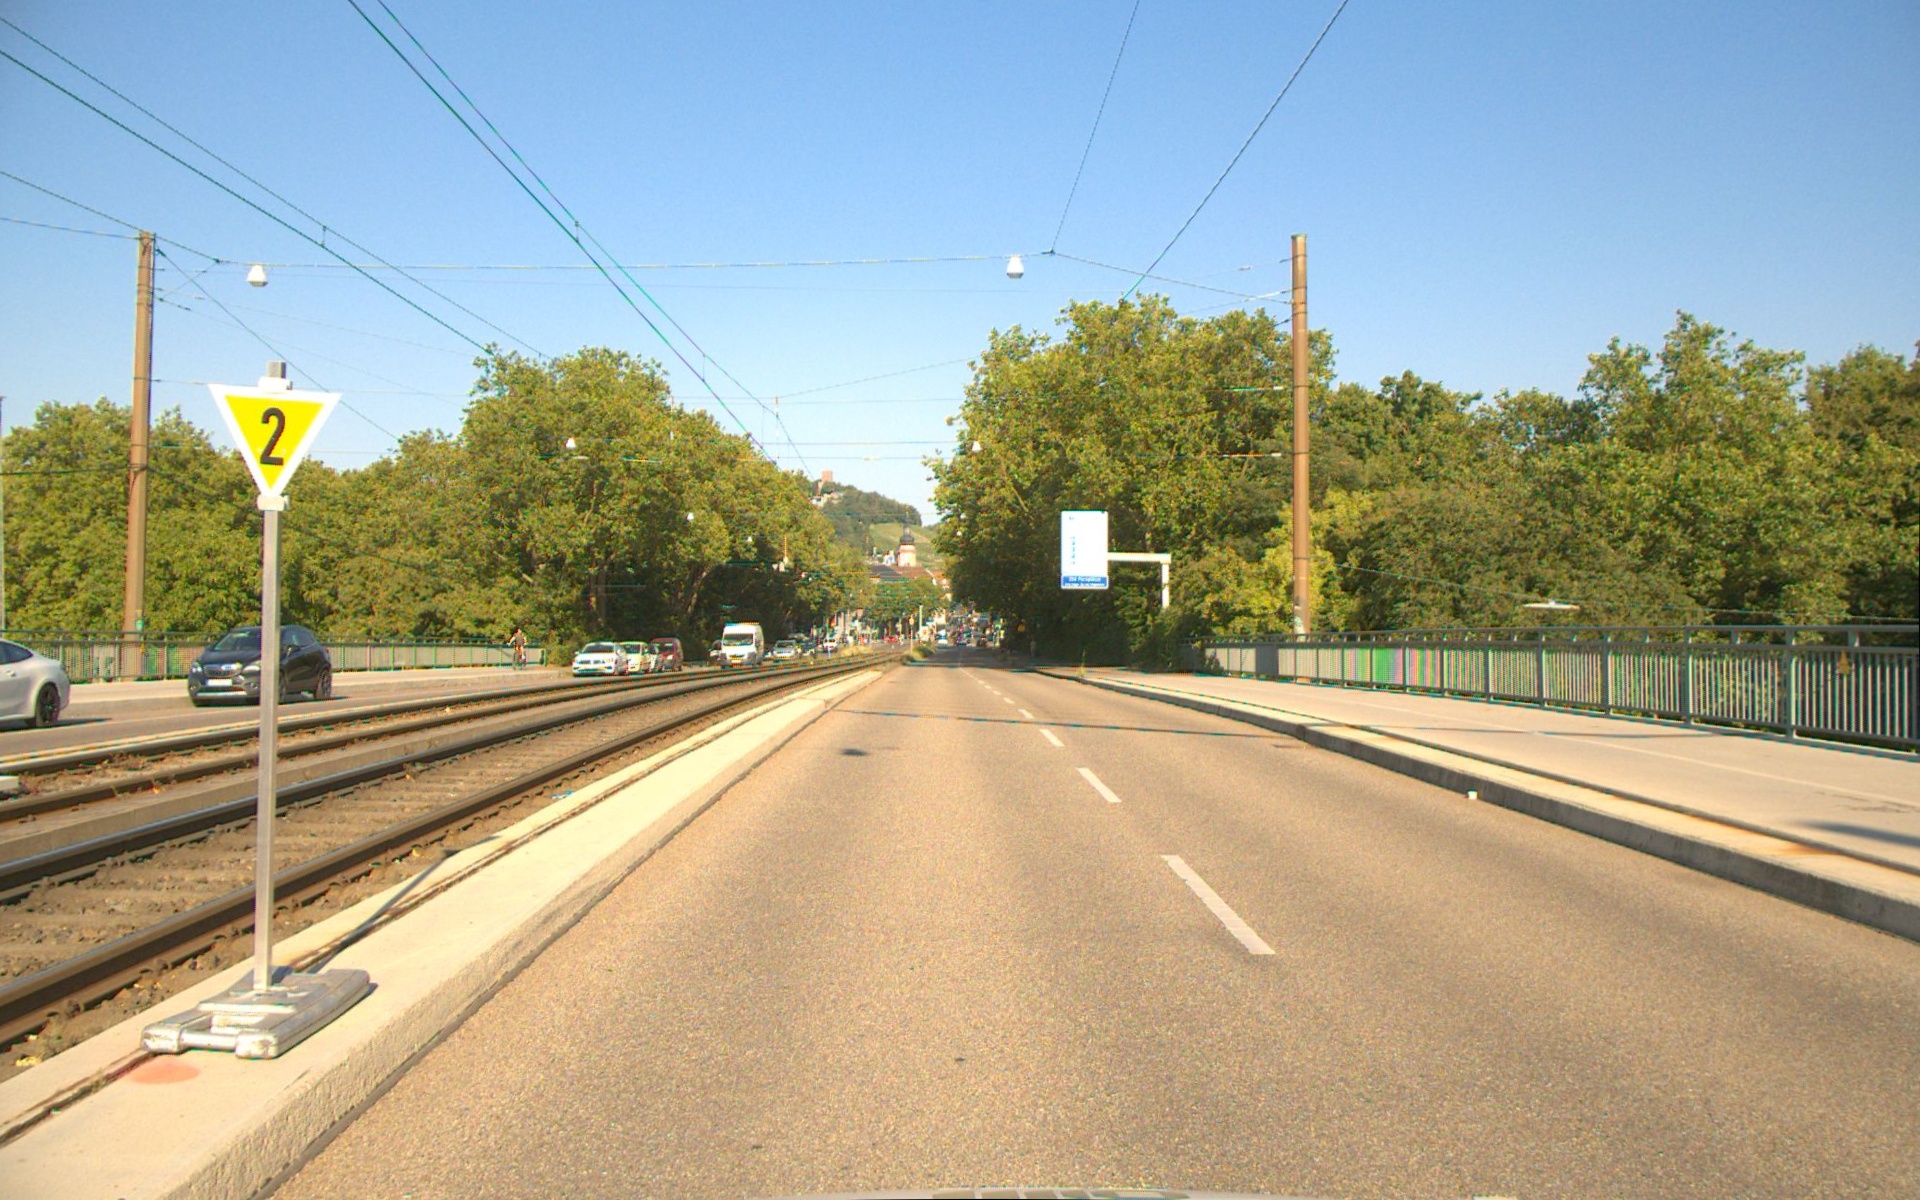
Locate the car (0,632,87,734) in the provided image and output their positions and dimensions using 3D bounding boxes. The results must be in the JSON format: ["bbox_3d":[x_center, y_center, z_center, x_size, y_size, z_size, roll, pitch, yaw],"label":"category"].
[{"bbox_3d":[-14.518,1.211,23.545,1.650,1.380,4.919,0,0,-1],"label":"car"}]

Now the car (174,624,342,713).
[{"bbox_3d":[-14.808,1.400,35.168,1.743,1.679,4.446,0,0,-1],"label":"car"}]

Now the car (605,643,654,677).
[{"bbox_3d":[-15.485,2.791,77.694,1.600,1.558,3.789,0,-1,-1],"label":"car"}]

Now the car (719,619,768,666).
[{"bbox_3d":[-12.481,2.441,95.904,2.044,2.639,6.039,1,-1,0],"label":"car"}]

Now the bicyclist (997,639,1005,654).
[{"bbox_3d":[4.788,5.416,193.255,0.869,1.806,1.221,0,-2,-4],"label":"bicyclist"}]

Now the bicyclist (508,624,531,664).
[{"bbox_3d":[-18.378,1.836,68.984,0.666,1.655,0.889,2,-1,-1],"label":"bicyclist"}]

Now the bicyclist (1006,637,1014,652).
[{"bbox_3d":[5.550,4.943,184.686,0.869,1.667,1.164,0,-2,-1],"label":"bicyclist"}]

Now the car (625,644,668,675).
[{"bbox_3d":[-15.702,2.976,83.064,1.601,1.476,3.999,0,-1,-3],"label":"car"}]

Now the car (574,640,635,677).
[{"bbox_3d":[-15.356,2.500,71.677,1.706,1.490,4.953,0,-1,-2],"label":"car"}]

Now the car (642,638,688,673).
[{"bbox_3d":[-15.731,2.943,88.447,1.706,1.785,4.682,0,-1,-1],"label":"car"}]

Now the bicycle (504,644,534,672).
[{"bbox_3d":[-18.395,2.429,69.023,0.666,1.117,2.099,2,-1,0],"label":"bicycle"}]

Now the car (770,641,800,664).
[{"bbox_3d":[-13.590,4.076,128.833,1.835,1.694,4.596,-2,-1,-1],"label":"car"}]

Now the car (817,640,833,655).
[{"bbox_3d":[-17.587,6.123,215.282,1.954,1.877,5.297,-1,-1,-3],"label":"car"}]

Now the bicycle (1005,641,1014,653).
[{"bbox_3d":[5.551,5.213,184.473,0.869,1.344,2.639,0,-2,0],"label":"bicycle"}]

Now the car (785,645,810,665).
[{"bbox_3d":[-14.858,5.004,151.096,1.953,1.727,4.742,0,-2,-2],"label":"car"}]

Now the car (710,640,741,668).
[{"bbox_3d":[-16.528,3.794,116.531,1.707,1.774,4.510,-3,-1,-3],"label":"car"}]
